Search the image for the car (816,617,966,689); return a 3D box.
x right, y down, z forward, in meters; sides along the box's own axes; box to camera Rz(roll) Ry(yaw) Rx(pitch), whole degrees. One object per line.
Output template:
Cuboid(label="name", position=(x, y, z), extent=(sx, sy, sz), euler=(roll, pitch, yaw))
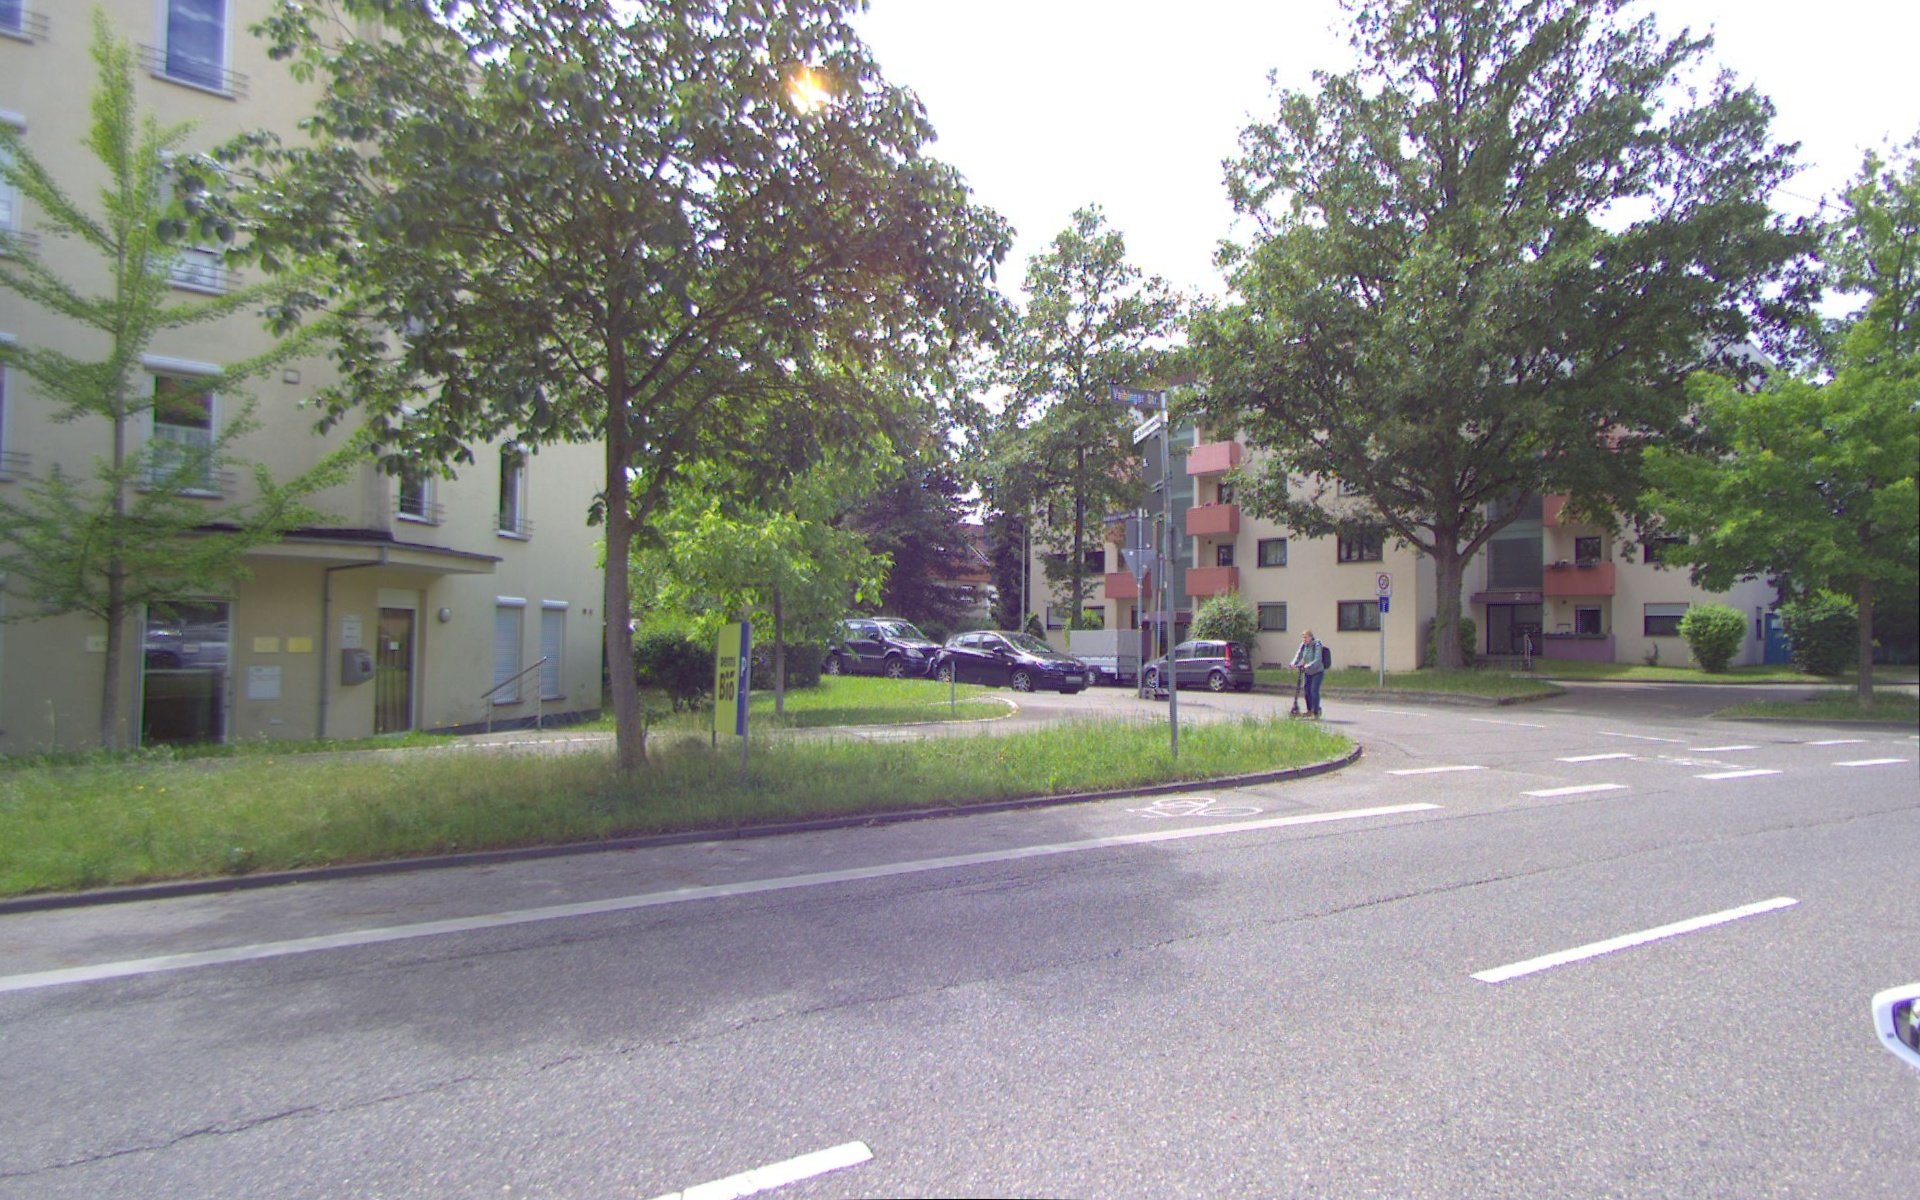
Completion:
Cuboid(label="car", position=(-1.995, 1.396, 27.816), extent=(1.857, 1.675, 4.379), euler=(2, 0, -41))

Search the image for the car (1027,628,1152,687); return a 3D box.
Cuboid(label="car", position=(4.359, 1.975, 34.137), extent=(1.832, 1.868, 3.952), euler=(2, -5, -42))

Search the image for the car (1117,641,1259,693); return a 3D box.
Cuboid(label="car", position=(6.914, 2.000, 30.686), extent=(3.945, 1.471, 1.687), euler=(-2, -3, 43))

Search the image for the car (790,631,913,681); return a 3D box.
Cuboid(label="car", position=(-4.247, 2.138, 39.207), extent=(4.337, 1.817, 2.124), euler=(-1, -2, 28))

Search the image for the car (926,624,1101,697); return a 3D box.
Cuboid(label="car", position=(1.176, 1.366, 23.720), extent=(1.725, 1.417, 4.100), euler=(2, 0, -42))

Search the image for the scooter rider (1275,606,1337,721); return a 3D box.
Cuboid(label="scooter rider", position=(6.333, 1.147, 18.404), extent=(0.785, 2.040, 0.673), euler=(2, 0, -30))
